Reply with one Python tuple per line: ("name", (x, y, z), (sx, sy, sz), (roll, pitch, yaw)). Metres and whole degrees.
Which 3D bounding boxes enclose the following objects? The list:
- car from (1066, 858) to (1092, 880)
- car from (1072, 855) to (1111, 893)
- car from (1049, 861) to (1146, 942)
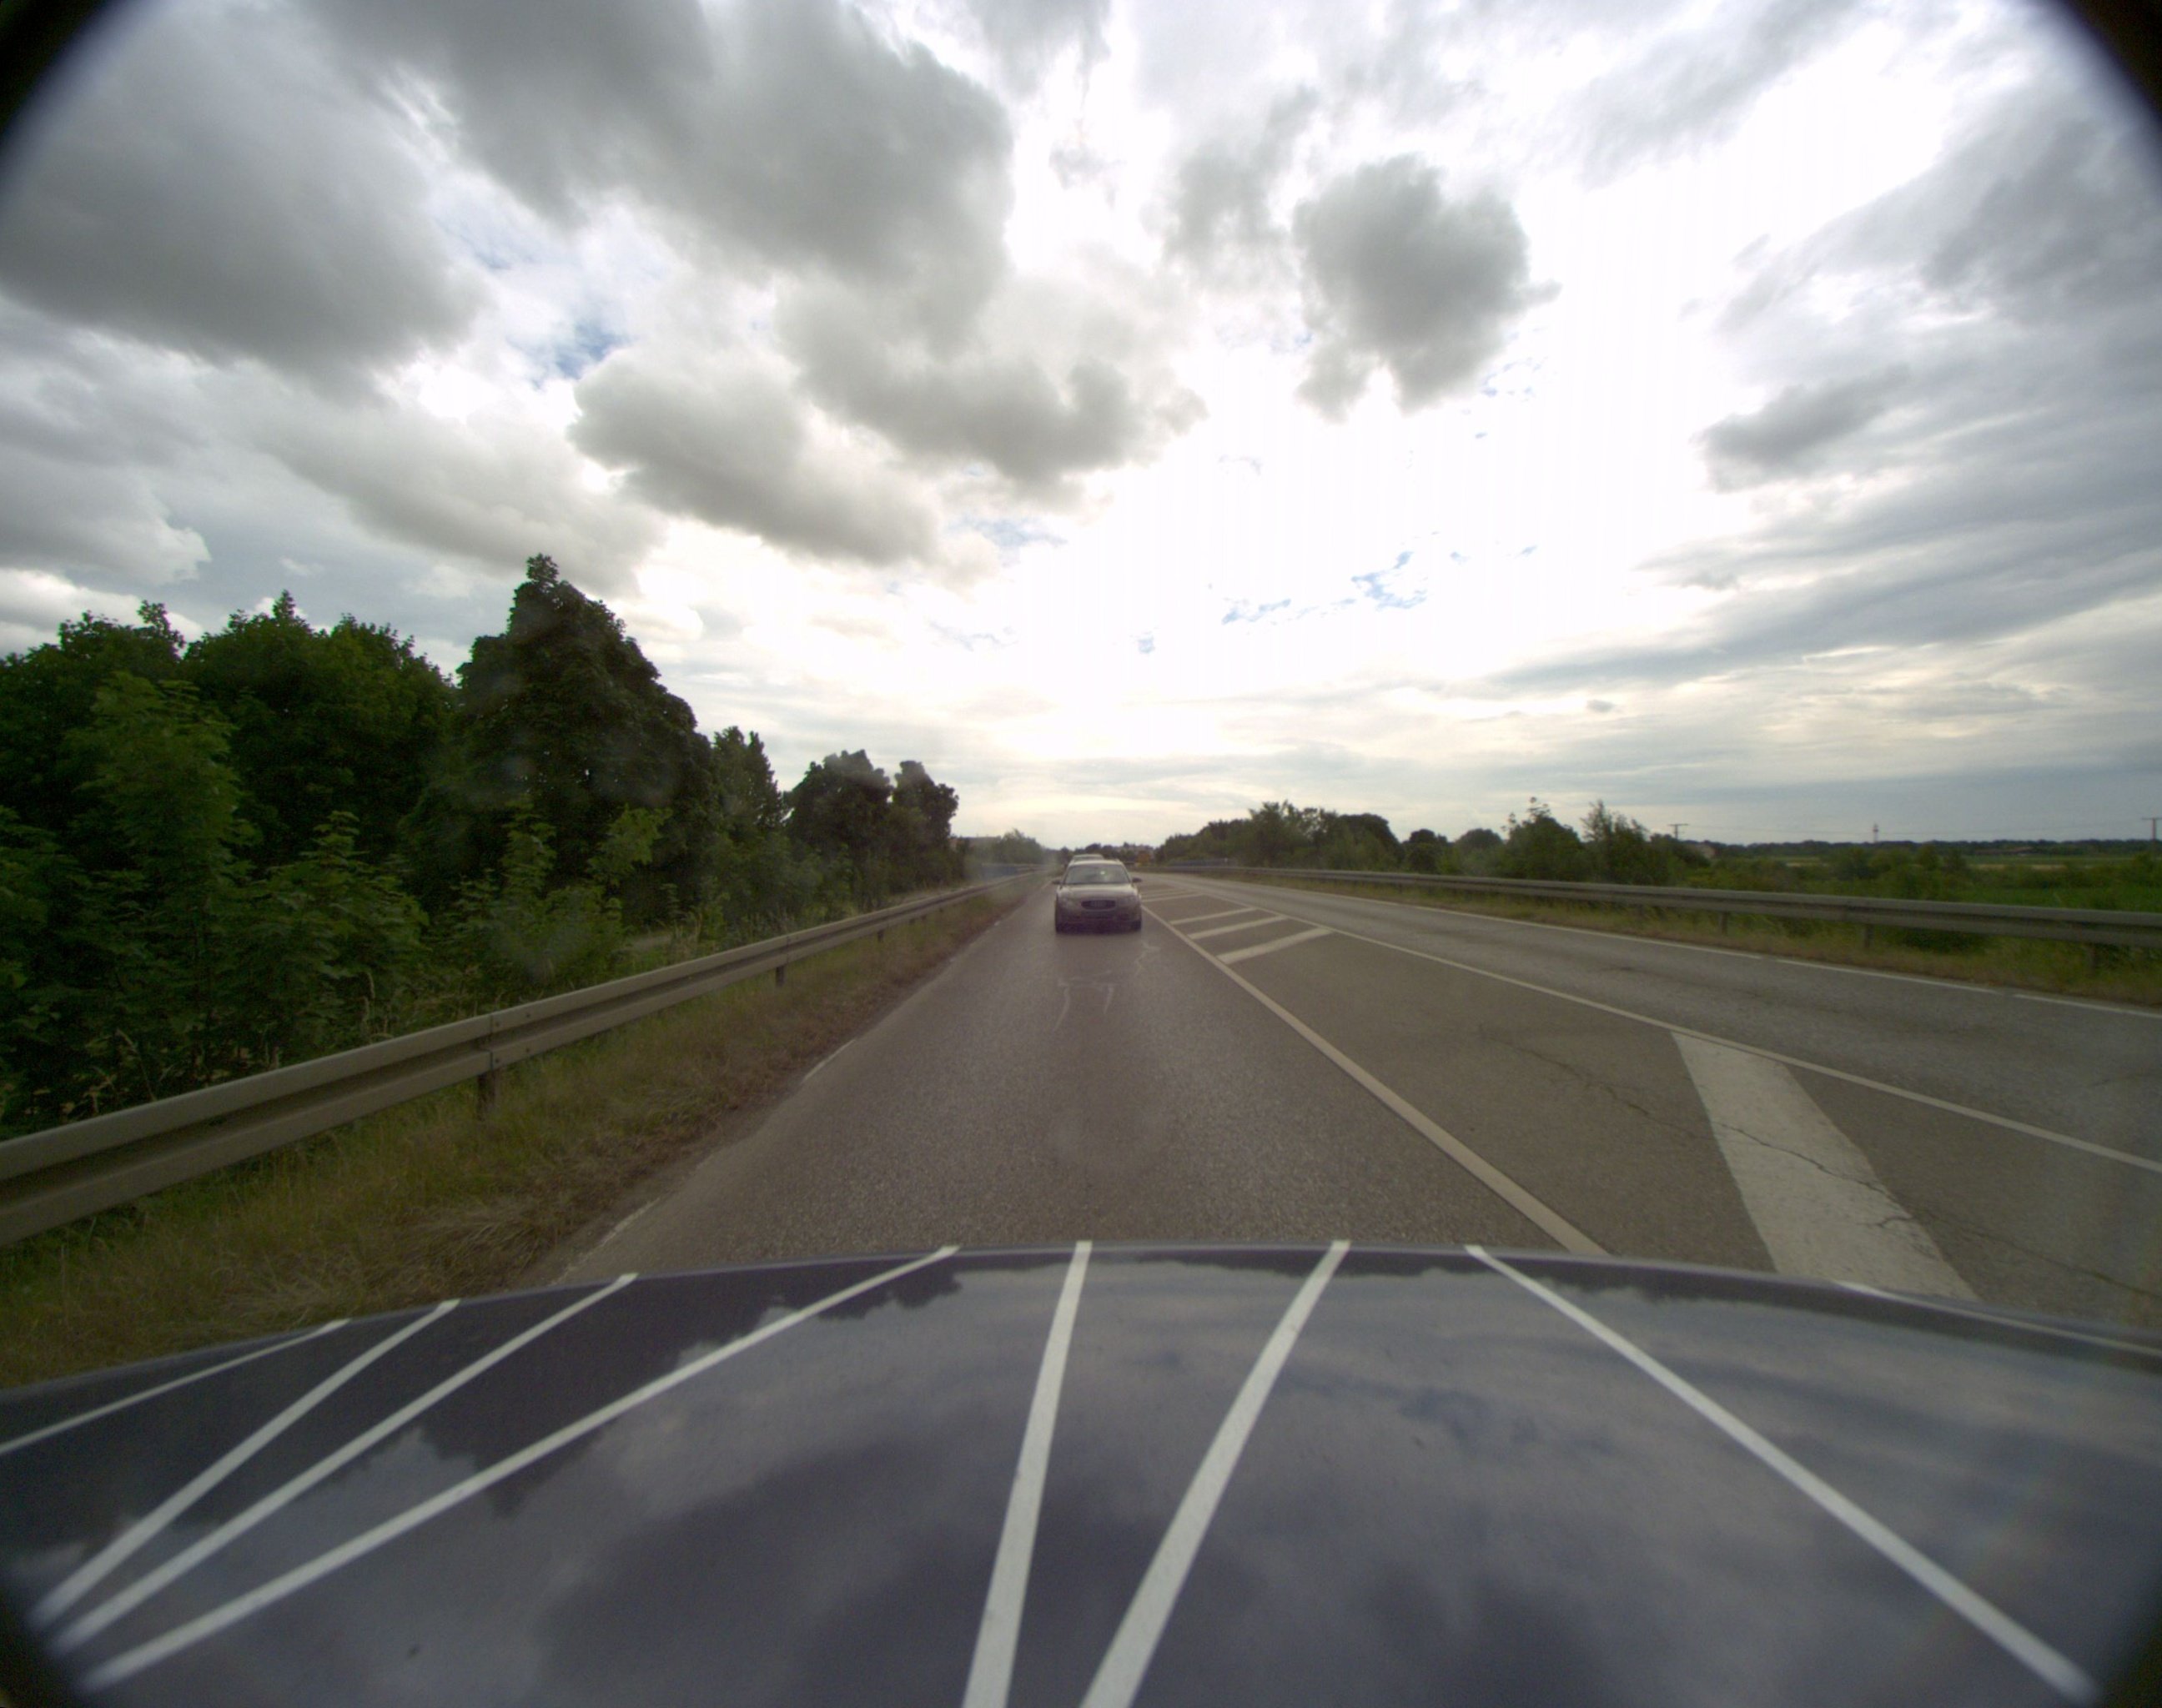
("car", (-0.137, 1.017, 52.533), (1.670, 1.339, 4.000), (-2, 0, 0))
("car", (0.470, 0.842, 33.809), (1.603, 1.494, 3.962), (-2, 0, 1))
("car", (0.294, 0.902, 16.113), (1.768, 1.383, 3.876), (-2, 1, -1))
